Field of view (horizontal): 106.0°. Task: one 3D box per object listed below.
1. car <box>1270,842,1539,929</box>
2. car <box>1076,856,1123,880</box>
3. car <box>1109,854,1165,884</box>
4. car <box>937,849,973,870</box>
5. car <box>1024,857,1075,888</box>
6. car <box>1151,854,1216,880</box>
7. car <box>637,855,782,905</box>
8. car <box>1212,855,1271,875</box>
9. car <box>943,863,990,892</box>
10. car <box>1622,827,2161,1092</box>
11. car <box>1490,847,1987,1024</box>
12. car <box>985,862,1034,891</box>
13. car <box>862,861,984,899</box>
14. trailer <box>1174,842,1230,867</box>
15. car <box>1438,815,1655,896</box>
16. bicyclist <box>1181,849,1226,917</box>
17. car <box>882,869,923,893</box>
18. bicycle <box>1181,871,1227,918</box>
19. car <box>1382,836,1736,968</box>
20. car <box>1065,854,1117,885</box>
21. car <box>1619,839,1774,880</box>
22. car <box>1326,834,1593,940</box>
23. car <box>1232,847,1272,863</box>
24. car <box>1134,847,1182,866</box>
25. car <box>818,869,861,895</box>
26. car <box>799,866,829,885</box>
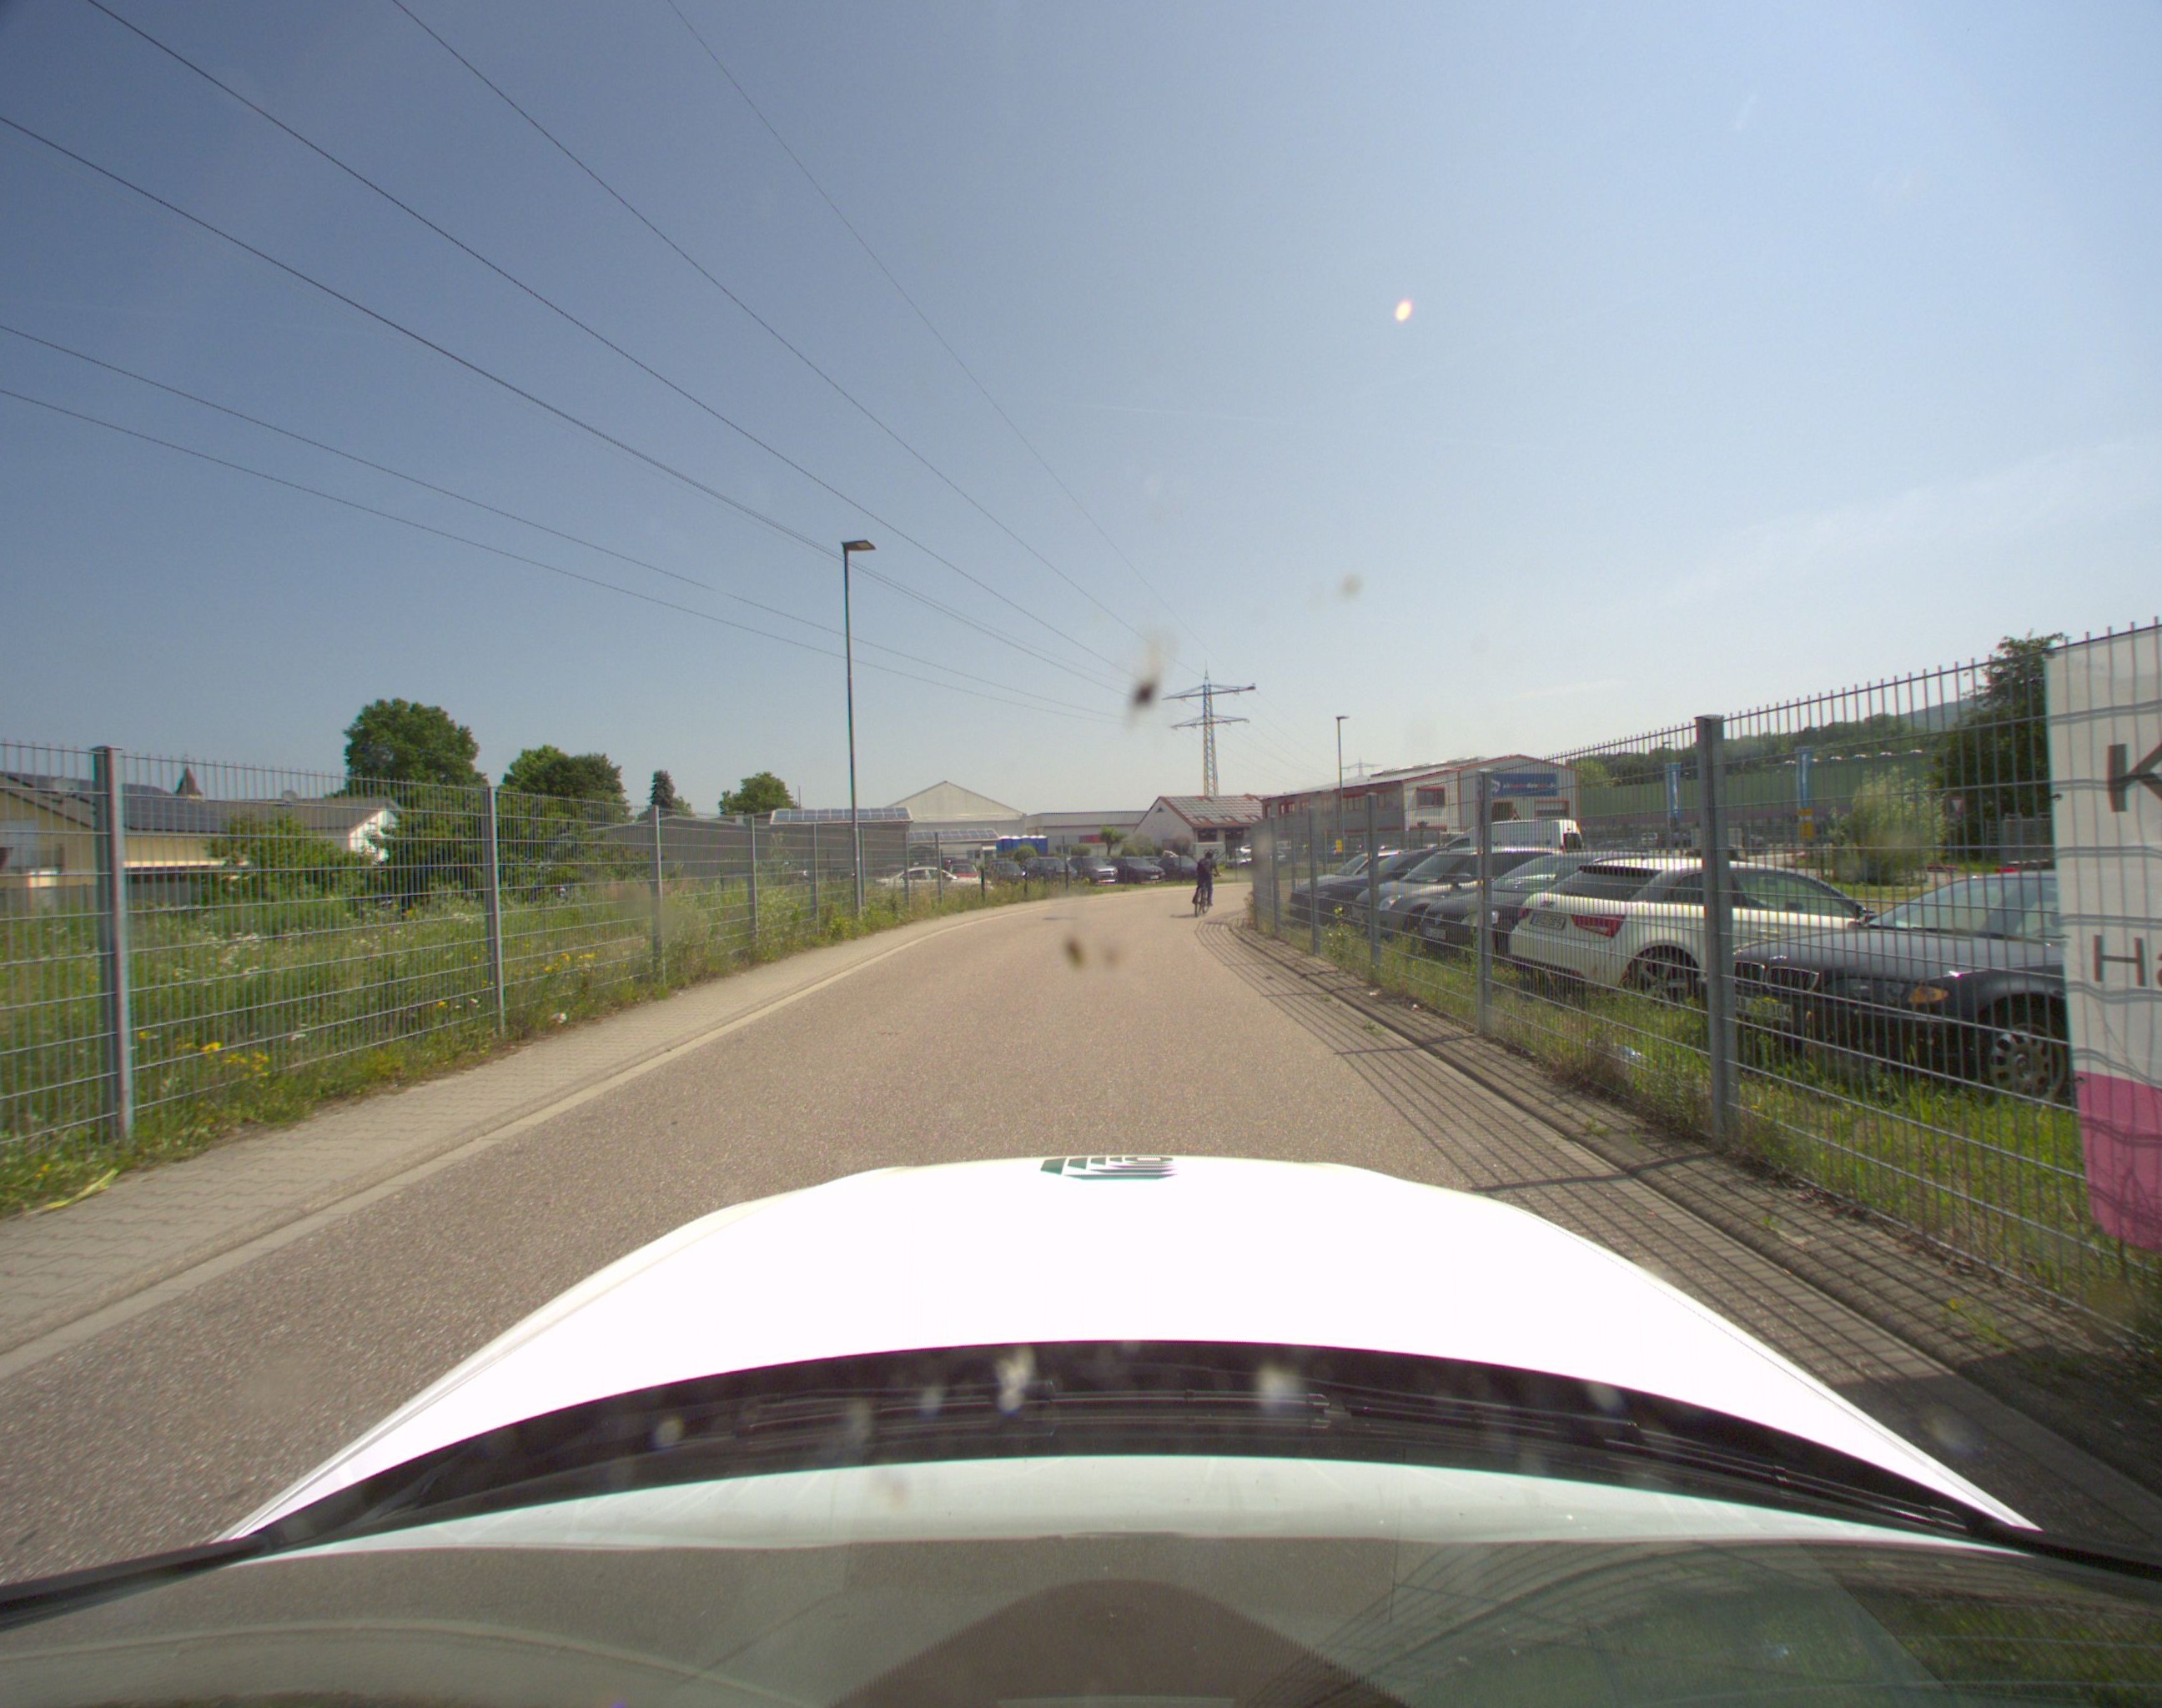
[{"bbox_3d":[6.146,0.576,15.896,4.519,1.474,1.826,-2,0,2],"label":"car"},{"bbox_3d":[1.148,0.909,52.837,1.998,1.420,3.979,-2,0,-16],"label":"car"},{"bbox_3d":[3.142,0.818,46.113,1.868,1.554,3.747,-2,0,-18],"label":"car"},{"bbox_3d":[-9.147,0.420,58.903,1.868,1.433,4.576,-2,0,-18],"label":"car"},{"bbox_3d":[-1.780,1.014,45.084,1.868,1.561,3.674,-2,0,-18],"label":"car"},{"bbox_3d":[5.976,0.757,48.164,2.001,1.435,4.636,-2,0,-18],"label":"car"},{"bbox_3d":[-13.076,0.888,29.004,4.435,1.562,2.030,-2,0,-18],"label":"car"},{"bbox_3d":[11.629,0.763,58.896,4.141,1.261,1.227,-2,0,-19],"label":"car"},{"bbox_3d":[-6.152,1.227,43.421,1.868,1.453,3.420,-2,0,-18],"label":"car"},{"bbox_3d":[6.110,0.523,5.228,4.172,1.354,1.722,-1,0,-2],"label":"car"},{"bbox_3d":[6.150,0.715,7.901,3.514,1.389,1.635,3,0,-2],"label":"car"},{"bbox_3d":[-3.964,1.200,44.393,1.868,1.433,3.626,-2,0,-18],"label":"car"},{"bbox_3d":[-6.239,0.987,32.082,4.560,1.307,1.857,-2,0,-18],"label":"car"},{"bbox_3d":[10.316,-0.002,69.358,4.438,1.945,1.712,-2,0,-4],"label":"trailer"},{"bbox_3d":[13.762,0.065,24.399,1.917,2.149,5.280,-2,0,-39],"label":"car"},{"bbox_3d":[3.050,0.693,20.229,0.835,1.618,1.045,-1,0,23],"label":"bicyclist"},{"bbox_3d":[-10.446,1.542,47.414,1.869,1.298,3.417,-2,0,-20],"label":"car"},{"bbox_3d":[3.103,0.989,20.370,0.679,1.051,1.911,-1,1,23],"label":"bicycle"},{"bbox_3d":[6.095,0.583,10.632,3.644,1.478,1.748,-1,-2,-7],"label":"car"},{"bbox_3d":[0.528,0.843,45.800,1.868,1.644,3.611,-2,0,-18],"label":"car"},{"bbox_3d":[20.941,0.192,27.830,1.917,1.277,3.883,-2,0,-40],"label":"car"},{"bbox_3d":[6.023,0.493,13.240,3.529,1.502,1.710,-2,0,-2],"label":"car"},{"bbox_3d":[17.931,0.107,85.385,3.906,1.516,1.498,-2,0,-19],"label":"car"},{"bbox_3d":[7.032,0.203,74.343,3.996,1.598,1.866,-2,0,-17],"label":"car"},{"bbox_3d":[-14.007,1.585,47.092,1.872,1.414,3.412,-2,0,-25],"label":"car"},{"bbox_3d":[-18.272,1.447,55.814,1.868,1.175,4.576,-2,0,-18],"label":"car"}]
